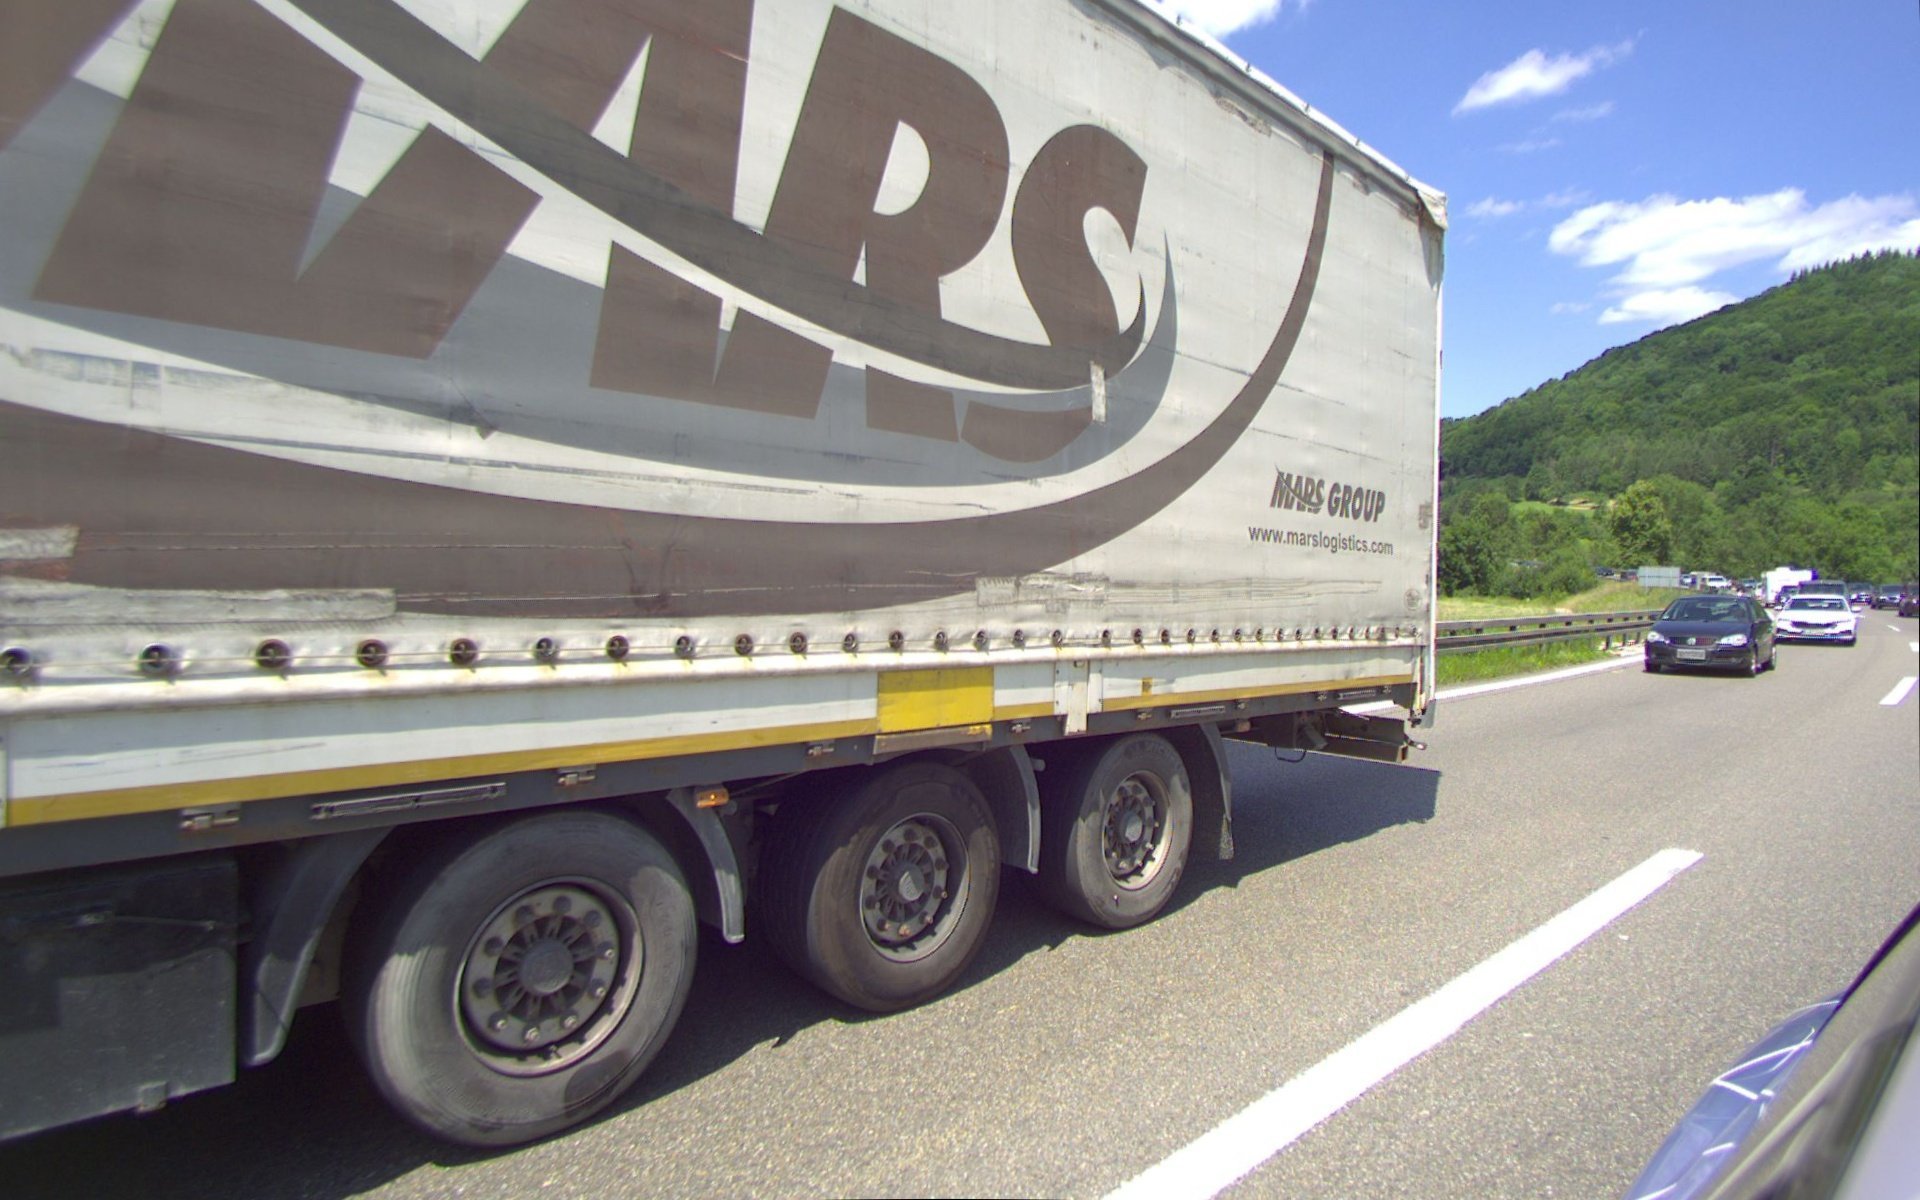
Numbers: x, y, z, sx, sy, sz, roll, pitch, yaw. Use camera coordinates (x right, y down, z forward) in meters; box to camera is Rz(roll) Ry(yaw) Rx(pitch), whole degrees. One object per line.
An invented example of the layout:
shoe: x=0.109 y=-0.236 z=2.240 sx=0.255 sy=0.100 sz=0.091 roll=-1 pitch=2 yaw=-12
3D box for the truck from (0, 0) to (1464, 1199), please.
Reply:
truck: x=-2.658 y=-0.741 z=2.868 sx=13.510 sy=4.118 sz=2.729 roll=-1 pitch=2 yaw=-43

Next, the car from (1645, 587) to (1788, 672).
car: x=14.342 y=0.480 z=19.111 sx=1.692 sy=1.440 sz=3.777 roll=0 pitch=1 yaw=44

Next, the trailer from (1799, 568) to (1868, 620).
trailer: x=36.006 y=-0.265 z=41.798 sx=1.991 sy=1.994 sz=3.942 roll=3 pitch=2 yaw=40

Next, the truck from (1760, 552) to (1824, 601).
truck: x=57.410 y=-1.590 z=69.962 sx=2.585 sy=3.147 sz=6.777 roll=-2 pitch=-1 yaw=33

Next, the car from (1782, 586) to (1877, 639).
car: x=25.557 y=0.318 z=29.715 sx=1.903 sy=1.448 sz=3.662 roll=1 pitch=1 yaw=45

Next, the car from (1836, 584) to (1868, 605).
car: x=76.634 y=-0.476 z=86.978 sx=1.521 sy=1.658 sz=3.377 roll=-2 pitch=-1 yaw=34

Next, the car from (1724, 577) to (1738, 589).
car: x=96.466 y=-2.098 z=126.652 sx=1.238 sy=1.497 sz=2.924 roll=-2 pitch=-1 yaw=34

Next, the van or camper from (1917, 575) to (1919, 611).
van or camper: x=50.694 y=-0.365 z=52.126 sx=1.810 sy=1.890 sz=3.562 roll=0 pitch=1 yaw=39

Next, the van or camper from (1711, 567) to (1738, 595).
van or camper: x=85.818 y=-2.106 z=113.663 sx=1.896 sy=3.065 sz=4.820 roll=1 pitch=1 yaw=32

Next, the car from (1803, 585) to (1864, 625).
car: x=33.632 y=0.151 z=38.931 sx=1.486 sy=1.400 sz=3.678 roll=4 pitch=3 yaw=45

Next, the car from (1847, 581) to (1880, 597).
car: x=66.065 y=-0.812 z=74.030 sx=1.483 sy=1.123 sz=3.173 roll=0 pitch=1 yaw=35

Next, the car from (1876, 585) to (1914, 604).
car: x=58.823 y=-0.337 z=63.716 sx=1.484 sy=1.123 sz=3.170 roll=0 pitch=1 yaw=38

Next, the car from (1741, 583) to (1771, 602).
car: x=67.232 y=-0.621 z=85.544 sx=1.688 sy=1.552 sz=3.635 roll=-2 pitch=-1 yaw=35

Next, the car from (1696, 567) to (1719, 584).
car: x=89.976 y=-2.970 z=121.901 sx=1.986 sy=2.039 sz=3.953 roll=0 pitch=1 yaw=33
